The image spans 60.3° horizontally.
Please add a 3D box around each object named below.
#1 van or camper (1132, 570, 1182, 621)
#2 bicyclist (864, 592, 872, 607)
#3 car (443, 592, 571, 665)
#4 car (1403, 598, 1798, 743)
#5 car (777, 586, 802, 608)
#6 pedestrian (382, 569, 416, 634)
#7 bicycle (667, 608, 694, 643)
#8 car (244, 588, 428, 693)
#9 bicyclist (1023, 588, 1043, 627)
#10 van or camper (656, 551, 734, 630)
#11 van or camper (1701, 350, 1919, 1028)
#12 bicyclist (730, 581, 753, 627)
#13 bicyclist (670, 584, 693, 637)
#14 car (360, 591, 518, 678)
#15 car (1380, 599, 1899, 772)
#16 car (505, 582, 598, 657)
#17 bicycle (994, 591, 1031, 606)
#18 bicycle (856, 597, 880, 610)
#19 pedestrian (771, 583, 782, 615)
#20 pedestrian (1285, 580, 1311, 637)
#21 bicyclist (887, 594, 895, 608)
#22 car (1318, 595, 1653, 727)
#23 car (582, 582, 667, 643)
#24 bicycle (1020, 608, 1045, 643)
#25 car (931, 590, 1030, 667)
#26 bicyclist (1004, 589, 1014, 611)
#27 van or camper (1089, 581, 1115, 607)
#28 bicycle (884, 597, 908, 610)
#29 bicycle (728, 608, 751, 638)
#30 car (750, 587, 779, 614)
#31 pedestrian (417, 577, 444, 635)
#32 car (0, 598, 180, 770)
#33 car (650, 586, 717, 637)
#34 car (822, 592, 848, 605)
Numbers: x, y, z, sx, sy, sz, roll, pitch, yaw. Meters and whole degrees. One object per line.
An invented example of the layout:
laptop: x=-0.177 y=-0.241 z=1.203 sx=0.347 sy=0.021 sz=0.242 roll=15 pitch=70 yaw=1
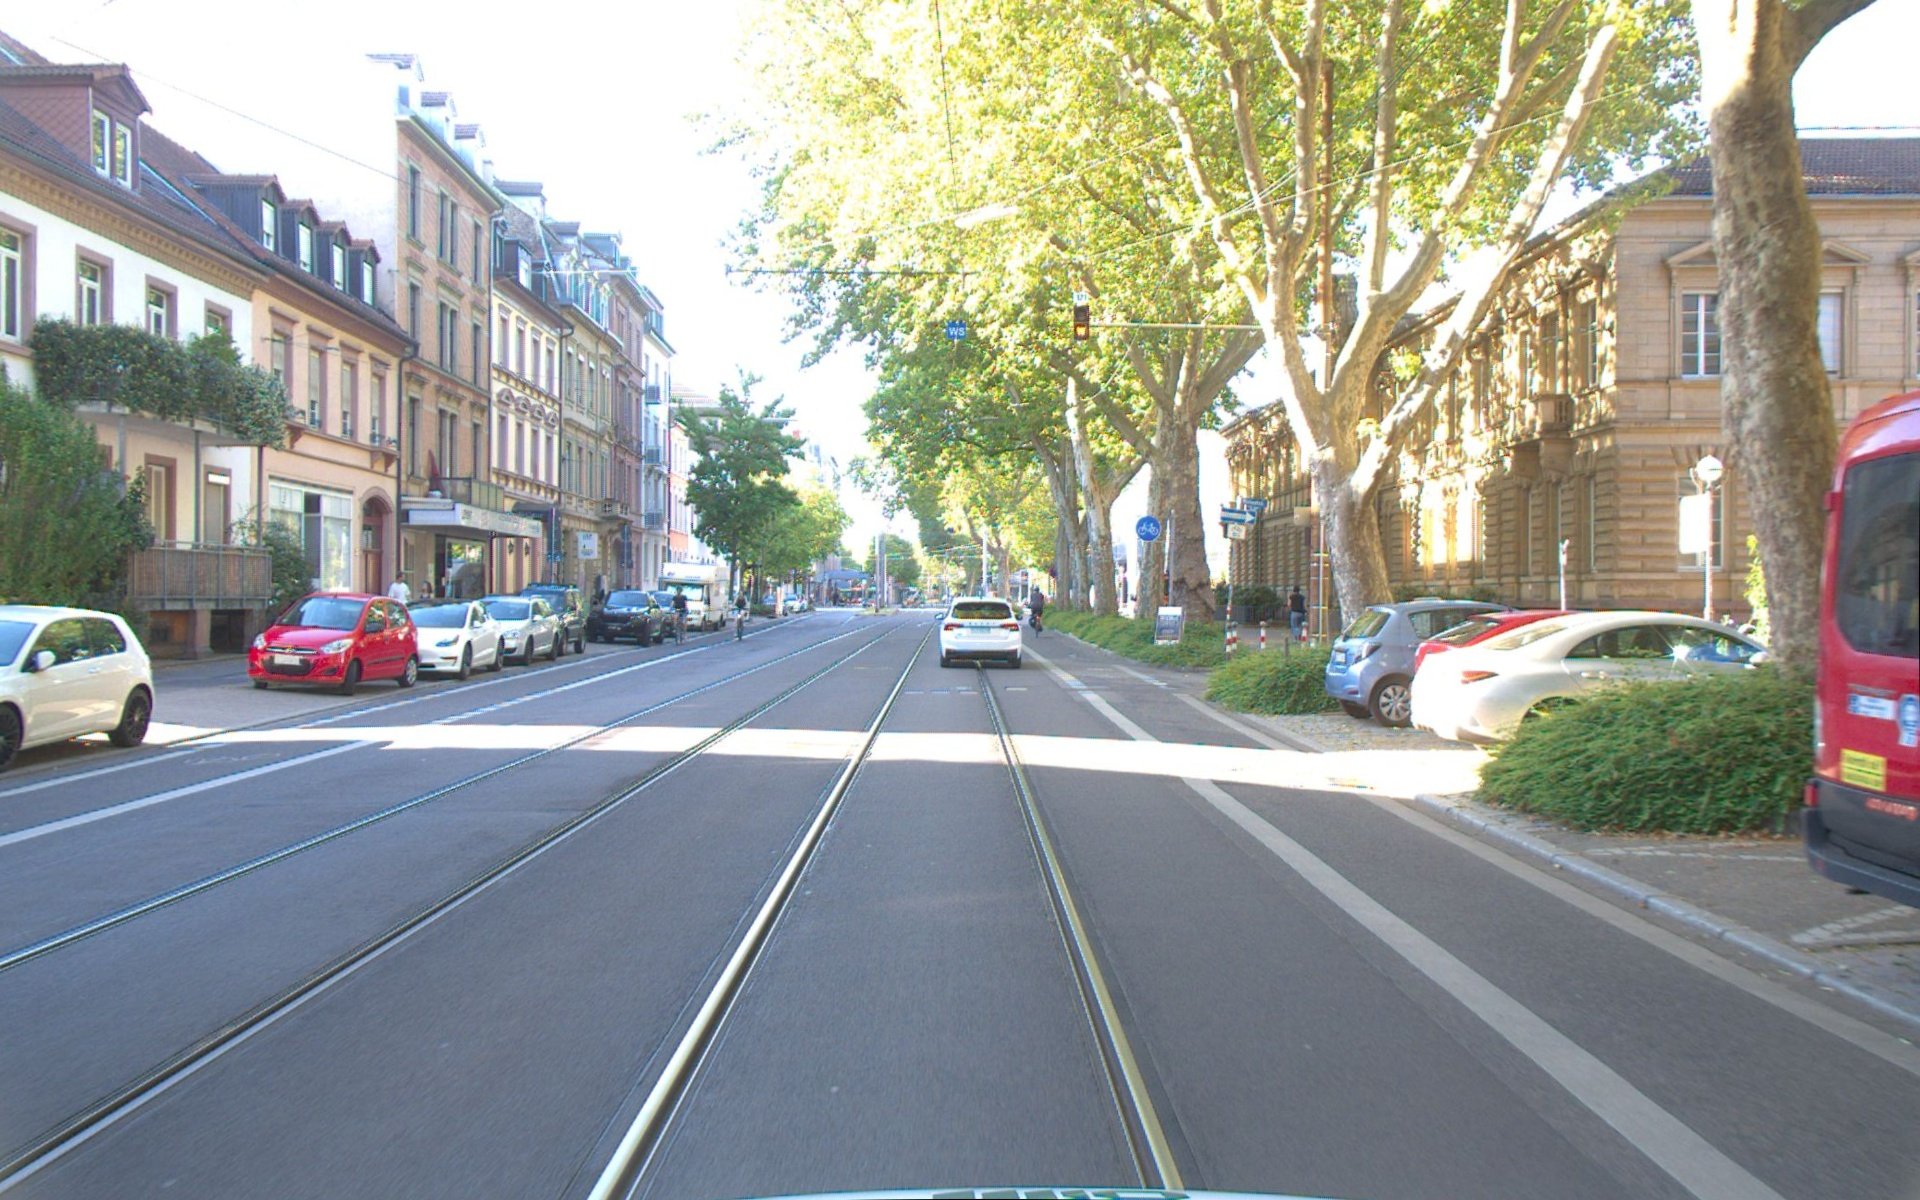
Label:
van or camper: x=10.325 y=-0.228 z=87.009 sx=1.985 sy=2.507 sz=5.108 roll=2 pitch=0 yaw=1
bicyclist: x=-9.959 y=-0.031 z=178.999 sx=0.626 sy=1.549 sz=0.602 roll=-1 pitch=1 yaw=-36
car: x=-10.220 y=0.599 z=37.632 sx=1.790 sy=1.529 sz=4.448 roll=1 pitch=0 yaw=-2
car: x=6.950 y=0.723 z=18.141 sx=3.680 sy=1.411 sz=1.679 roll=-1 pitch=0 yaw=-7
car: x=-13.935 y=-0.238 z=135.050 sx=1.758 sy=1.756 sz=3.782 roll=1 pitch=0 yaw=-3
pedestrian: x=-14.526 y=0.034 z=42.862 sx=0.760 sy=1.662 sz=0.654 roll=2 pitch=0 yaw=-17
bicycle: x=-8.931 y=0.808 z=52.972 sx=0.474 sy=1.065 sz=2.039 roll=-2 pitch=0 yaw=0
car: x=-10.004 y=0.601 z=26.768 sx=1.536 sy=1.590 sz=3.450 roll=0 pitch=0 yaw=3
bicyclist: x=2.599 y=0.281 z=59.014 sx=0.665 sy=1.362 sz=0.525 roll=2 pitch=0 yaw=-2
van or camper: x=-11.430 y=-0.400 z=71.861 sx=2.171 sy=3.195 sz=7.113 roll=1 pitch=0 yaw=0
van or camper: x=6.433 y=0.254 z=6.869 sx=5.700 sy=2.563 sz=2.286 roll=-2 pitch=1 yaw=-4
bicyclist: x=-7.396 y=0.139 z=56.037 sx=0.625 sy=1.529 sz=1.069 roll=-1 pitch=0 yaw=0
bicyclist: x=-8.928 y=0.332 z=53.101 sx=0.524 sy=1.663 sz=0.896 roll=-2 pitch=0 yaw=0
car: x=-10.025 y=0.611 z=32.199 sx=1.791 sy=1.529 sz=4.685 roll=1 pitch=0 yaw=-3
car: x=6.326 y=0.765 z=15.727 sx=4.198 sy=1.442 sz=1.760 roll=-1 pitch=0 yaw=0
car: x=-10.293 y=0.465 z=41.914 sx=1.524 sy=1.762 sz=3.684 roll=1 pitch=0 yaw=-2
bicycle: x=4.007 y=-0.117 z=125.430 sx=2.711 sy=1.017 sz=0.593 roll=2 pitch=0 yaw=13
bicycle: x=-9.969 y=0.358 z=179.040 sx=2.659 sy=1.351 sz=0.607 roll=0 pitch=0 yaw=-36
pedestrian: x=-11.597 y=-0.067 z=104.545 sx=0.588 sy=2.037 sz=0.750 roll=1 pitch=0 yaw=3
pedestrian: x=10.127 y=0.259 z=49.524 sx=0.634 sy=1.661 sz=0.872 roll=1 pitch=0 yaw=18
bicyclist: x=-7.554 y=0.123 z=180.379 sx=0.626 sy=1.549 sz=0.602 roll=-1 pitch=1 yaw=-36
car: x=6.531 y=0.733 z=20.807 sx=3.675 sy=1.534 sz=1.681 roll=1 pitch=0 yaw=-1
car: x=-10.850 y=0.380 z=53.816 sx=1.925 sy=1.812 sz=4.935 roll=3 pitch=0 yaw=-3
bicycle: x=2.586 y=0.889 z=58.913 sx=0.666 sy=1.175 sz=2.963 roll=2 pitch=0 yaw=-1
car: x=0.378 y=0.569 z=35.177 sx=1.806 sy=1.506 sz=3.836 roll=1 pitch=0 yaw=-3
bicyclist: x=3.726 y=-0.009 z=125.512 sx=0.721 sy=1.617 sz=0.587 roll=0 pitch=0 yaw=11
van or camper: x=13.081 y=-0.544 z=152.734 sx=1.953 sy=2.384 sz=3.999 roll=2 pitch=0 yaw=-1
bicycle: x=-6.990 y=0.390 z=180.791 sx=2.659 sy=1.351 sz=0.607 roll=0 pitch=0 yaw=-36
bicycle: x=-7.460 y=0.769 z=56.073 sx=0.488 sy=0.959 sz=1.921 roll=-2 pitch=0 yaw=0
car: x=-13.232 y=0.032 z=112.117 sx=1.608 sy=1.756 sz=3.782 roll=1 pitch=0 yaw=-3
pedestrian: x=-13.792 y=0.144 z=43.114 sx=0.625 sy=1.486 sz=0.654 roll=2 pitch=0 yaw=-17
car: x=-9.596 y=0.767 z=16.502 sx=1.653 sy=1.502 sz=4.256 roll=2 pitch=0 yaw=-1
car: x=-10.342 y=0.421 z=62.149 sx=1.925 sy=1.812 sz=4.468 roll=1 pitch=0 yaw=-3
car: x=-19.329 y=-0.189 z=255.850 sx=3.713 sy=1.850 sz=1.804 roll=2 pitch=0 yaw=5
